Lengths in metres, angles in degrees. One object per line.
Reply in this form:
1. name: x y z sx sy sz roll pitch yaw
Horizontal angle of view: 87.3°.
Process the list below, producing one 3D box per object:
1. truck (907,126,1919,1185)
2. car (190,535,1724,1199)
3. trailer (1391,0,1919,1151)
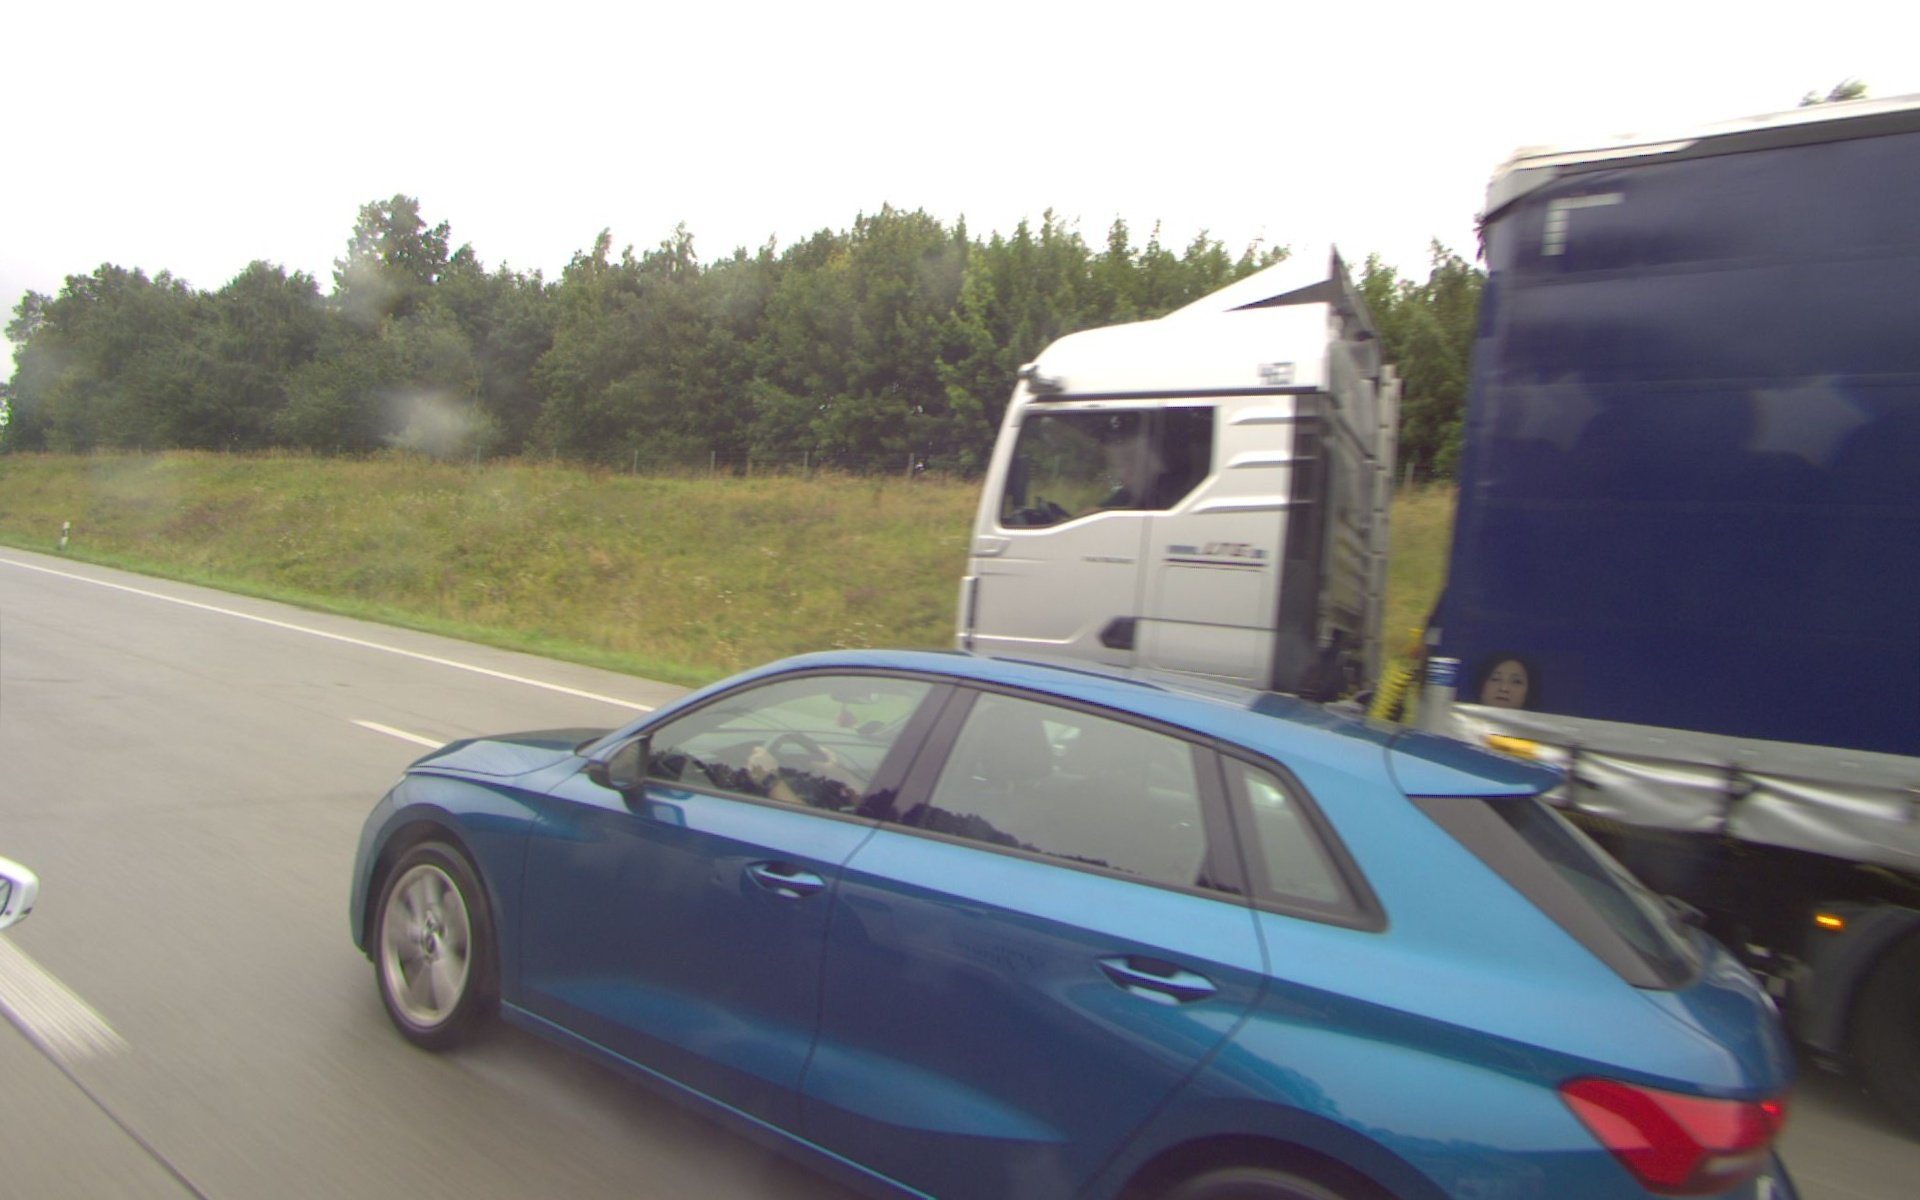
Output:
1. truck: 2.966 0.125 5.789 5.592 4.000 2.641 7 -1 32
2. car: -0.495 0.751 3.381 4.595 1.476 1.731 6 -1 32
3. trailer: 9.300 0.559 1.953 14.952 4.430 2.712 7 -1 32
